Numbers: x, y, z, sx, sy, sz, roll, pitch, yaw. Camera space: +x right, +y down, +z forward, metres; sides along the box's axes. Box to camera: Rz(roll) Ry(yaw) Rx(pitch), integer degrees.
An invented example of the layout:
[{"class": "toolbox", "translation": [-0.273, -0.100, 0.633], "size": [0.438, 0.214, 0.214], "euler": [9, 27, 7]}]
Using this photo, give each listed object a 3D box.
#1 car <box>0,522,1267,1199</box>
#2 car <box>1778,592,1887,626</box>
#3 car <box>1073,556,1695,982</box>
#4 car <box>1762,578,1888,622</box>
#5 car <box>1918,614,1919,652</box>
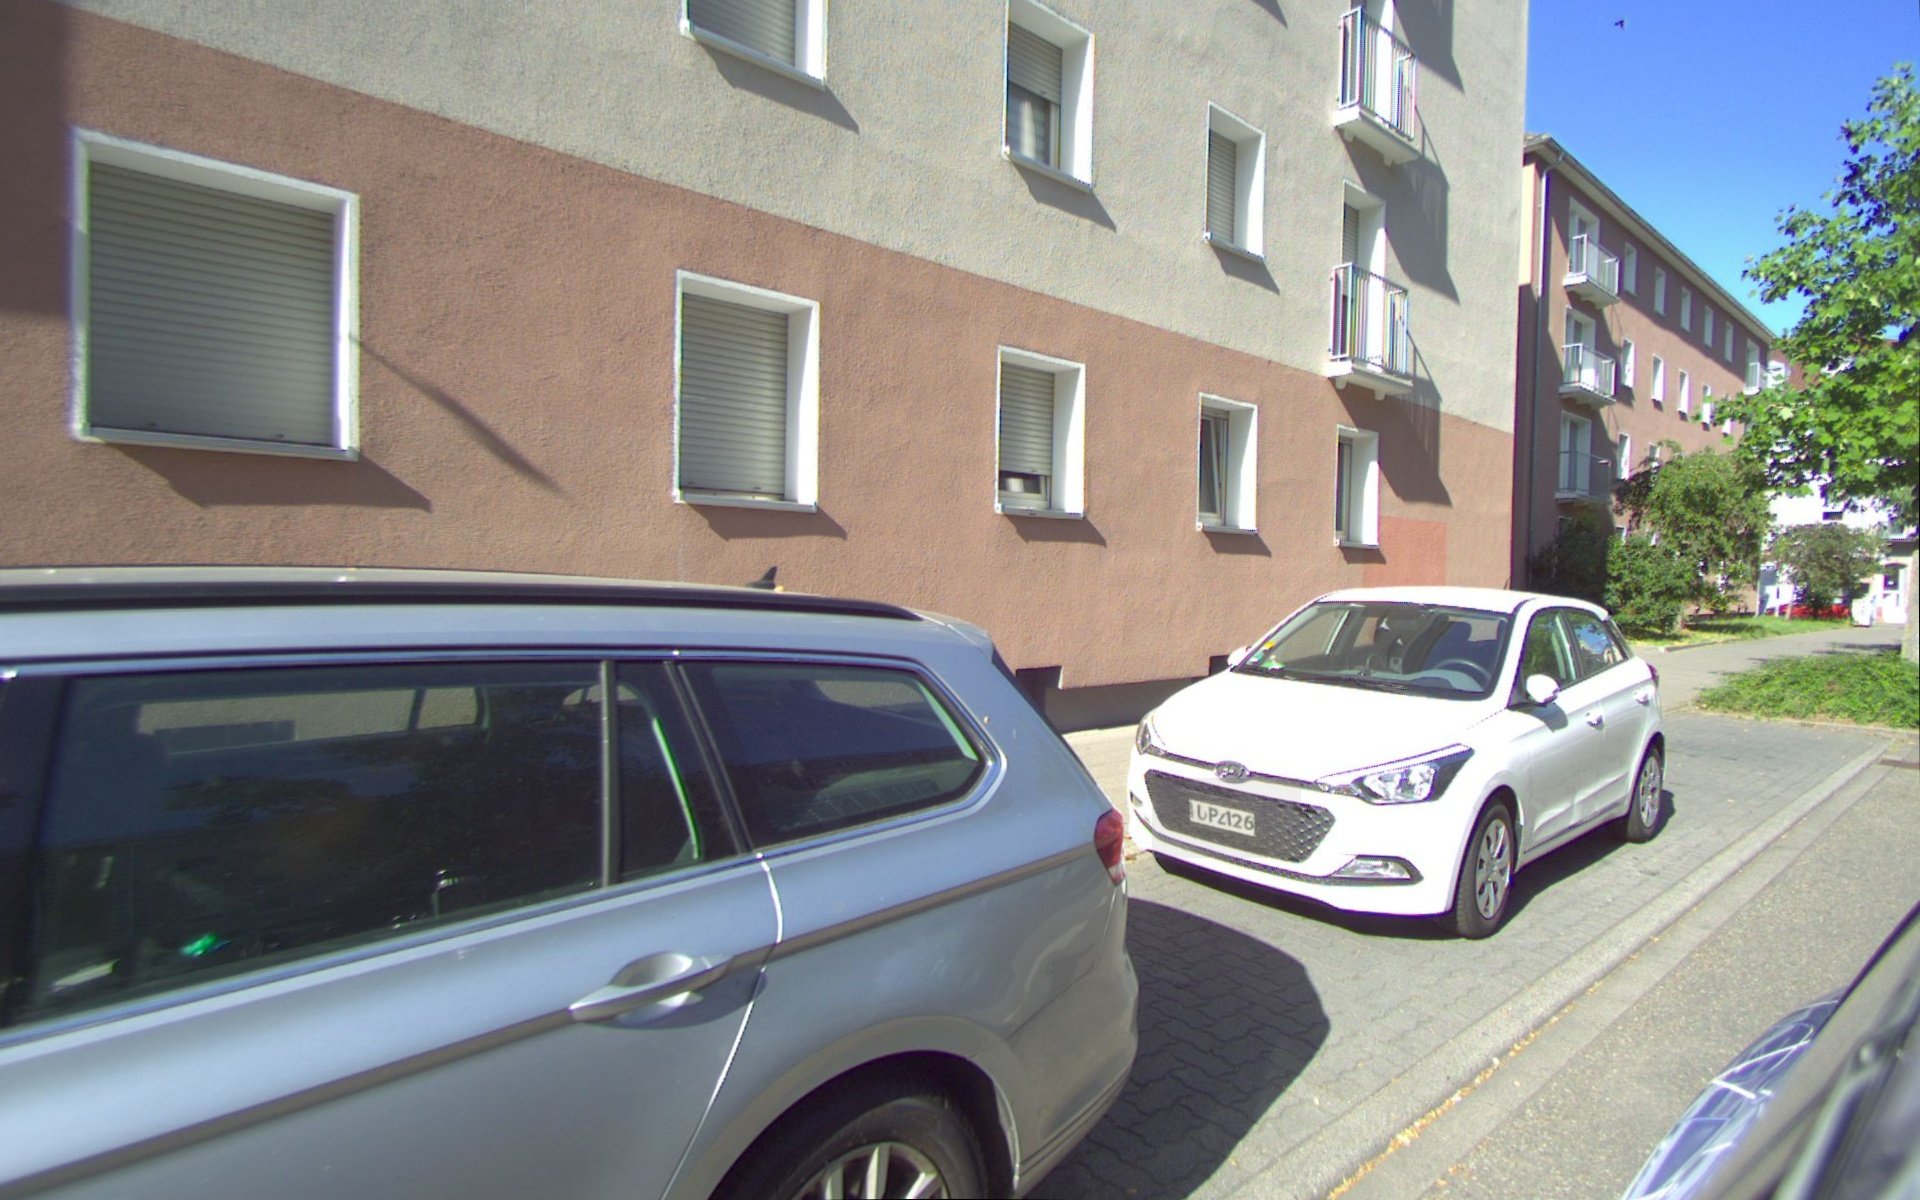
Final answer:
[{"class": "car", "translation": [-1.636, 0.621, 1.461], "size": [4.436, 1.477, 1.790], "euler": [0, 3, -40]}, {"class": "car", "translation": [40.925, 0.399, 47.523], "size": [1.541, 1.419, 3.646], "euler": [0, 2, -41]}, {"class": "car", "translation": [2.531, 0.581, 5.601], "size": [3.730, 1.504, 1.734], "euler": [0, 4, -43]}, {"class": "car", "translation": [44.210, -0.031, 51.816], "size": [4.745, 2.038, 1.968], "euler": [3, 2, 45]}, {"class": "car", "translation": [22.704, 0.408, 22.437], "size": [3.931, 1.471, 1.720], "euler": [-1, 3, -41]}]
